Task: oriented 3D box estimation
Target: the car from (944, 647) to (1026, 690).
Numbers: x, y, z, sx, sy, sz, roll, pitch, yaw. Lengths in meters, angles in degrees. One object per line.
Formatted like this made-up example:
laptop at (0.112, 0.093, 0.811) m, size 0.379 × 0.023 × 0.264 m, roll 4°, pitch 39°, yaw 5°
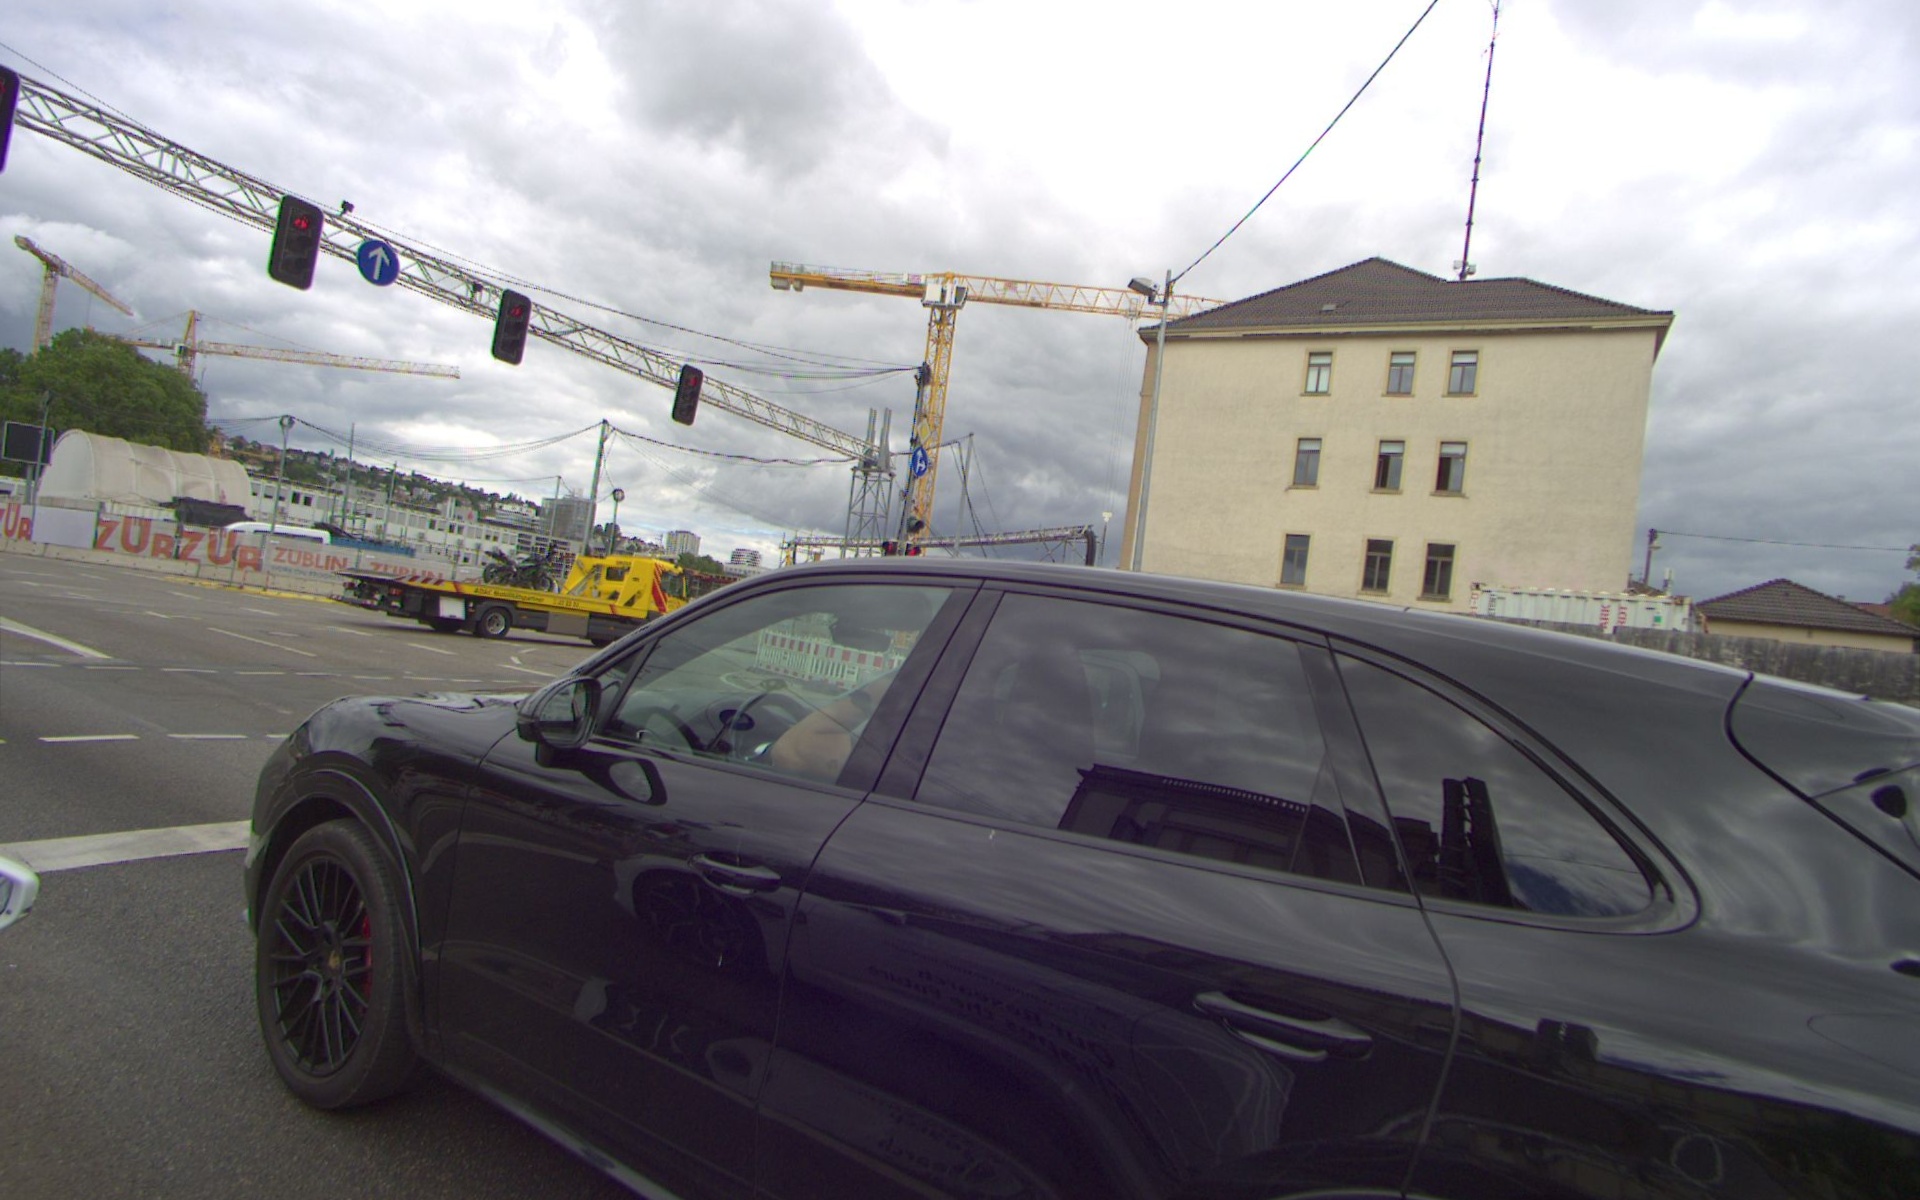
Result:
car at (1.149, 3.073, 44.673) m, size 1.655 × 1.512 × 3.993 m, roll 6°, pitch -2°, yaw 34°

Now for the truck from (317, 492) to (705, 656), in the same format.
truck at (-10.889, -0.404, 25.789) m, size 2.582 × 2.835 × 9.003 m, roll 7°, pitch -2°, yaw 30°

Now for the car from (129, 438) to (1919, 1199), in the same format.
car at (-0.096, 0.658, 2.692) m, size 4.410 × 1.735 × 1.828 m, roll 6°, pitch -2°, yaw 32°

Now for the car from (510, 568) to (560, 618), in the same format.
car at (-19.158, -0.319, 45.295) m, size 1.757 × 1.976 × 3.108 m, roll 8°, pitch -2°, yaw -25°

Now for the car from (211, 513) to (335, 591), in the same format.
car at (-29.569, -2.036, 43.368) m, size 1.660 × 2.692 × 3.979 m, roll 6°, pitch -2°, yaw 45°

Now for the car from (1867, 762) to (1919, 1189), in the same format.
car at (5.766, 1.679, 2.564) m, size 4.729 × 1.644 × 1.828 m, roll 6°, pitch -2°, yaw 32°

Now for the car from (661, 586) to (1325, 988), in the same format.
car at (0.115, 0.979, 6.658) m, size 3.934 × 1.644 × 1.679 m, roll 6°, pitch -2°, yaw 32°
